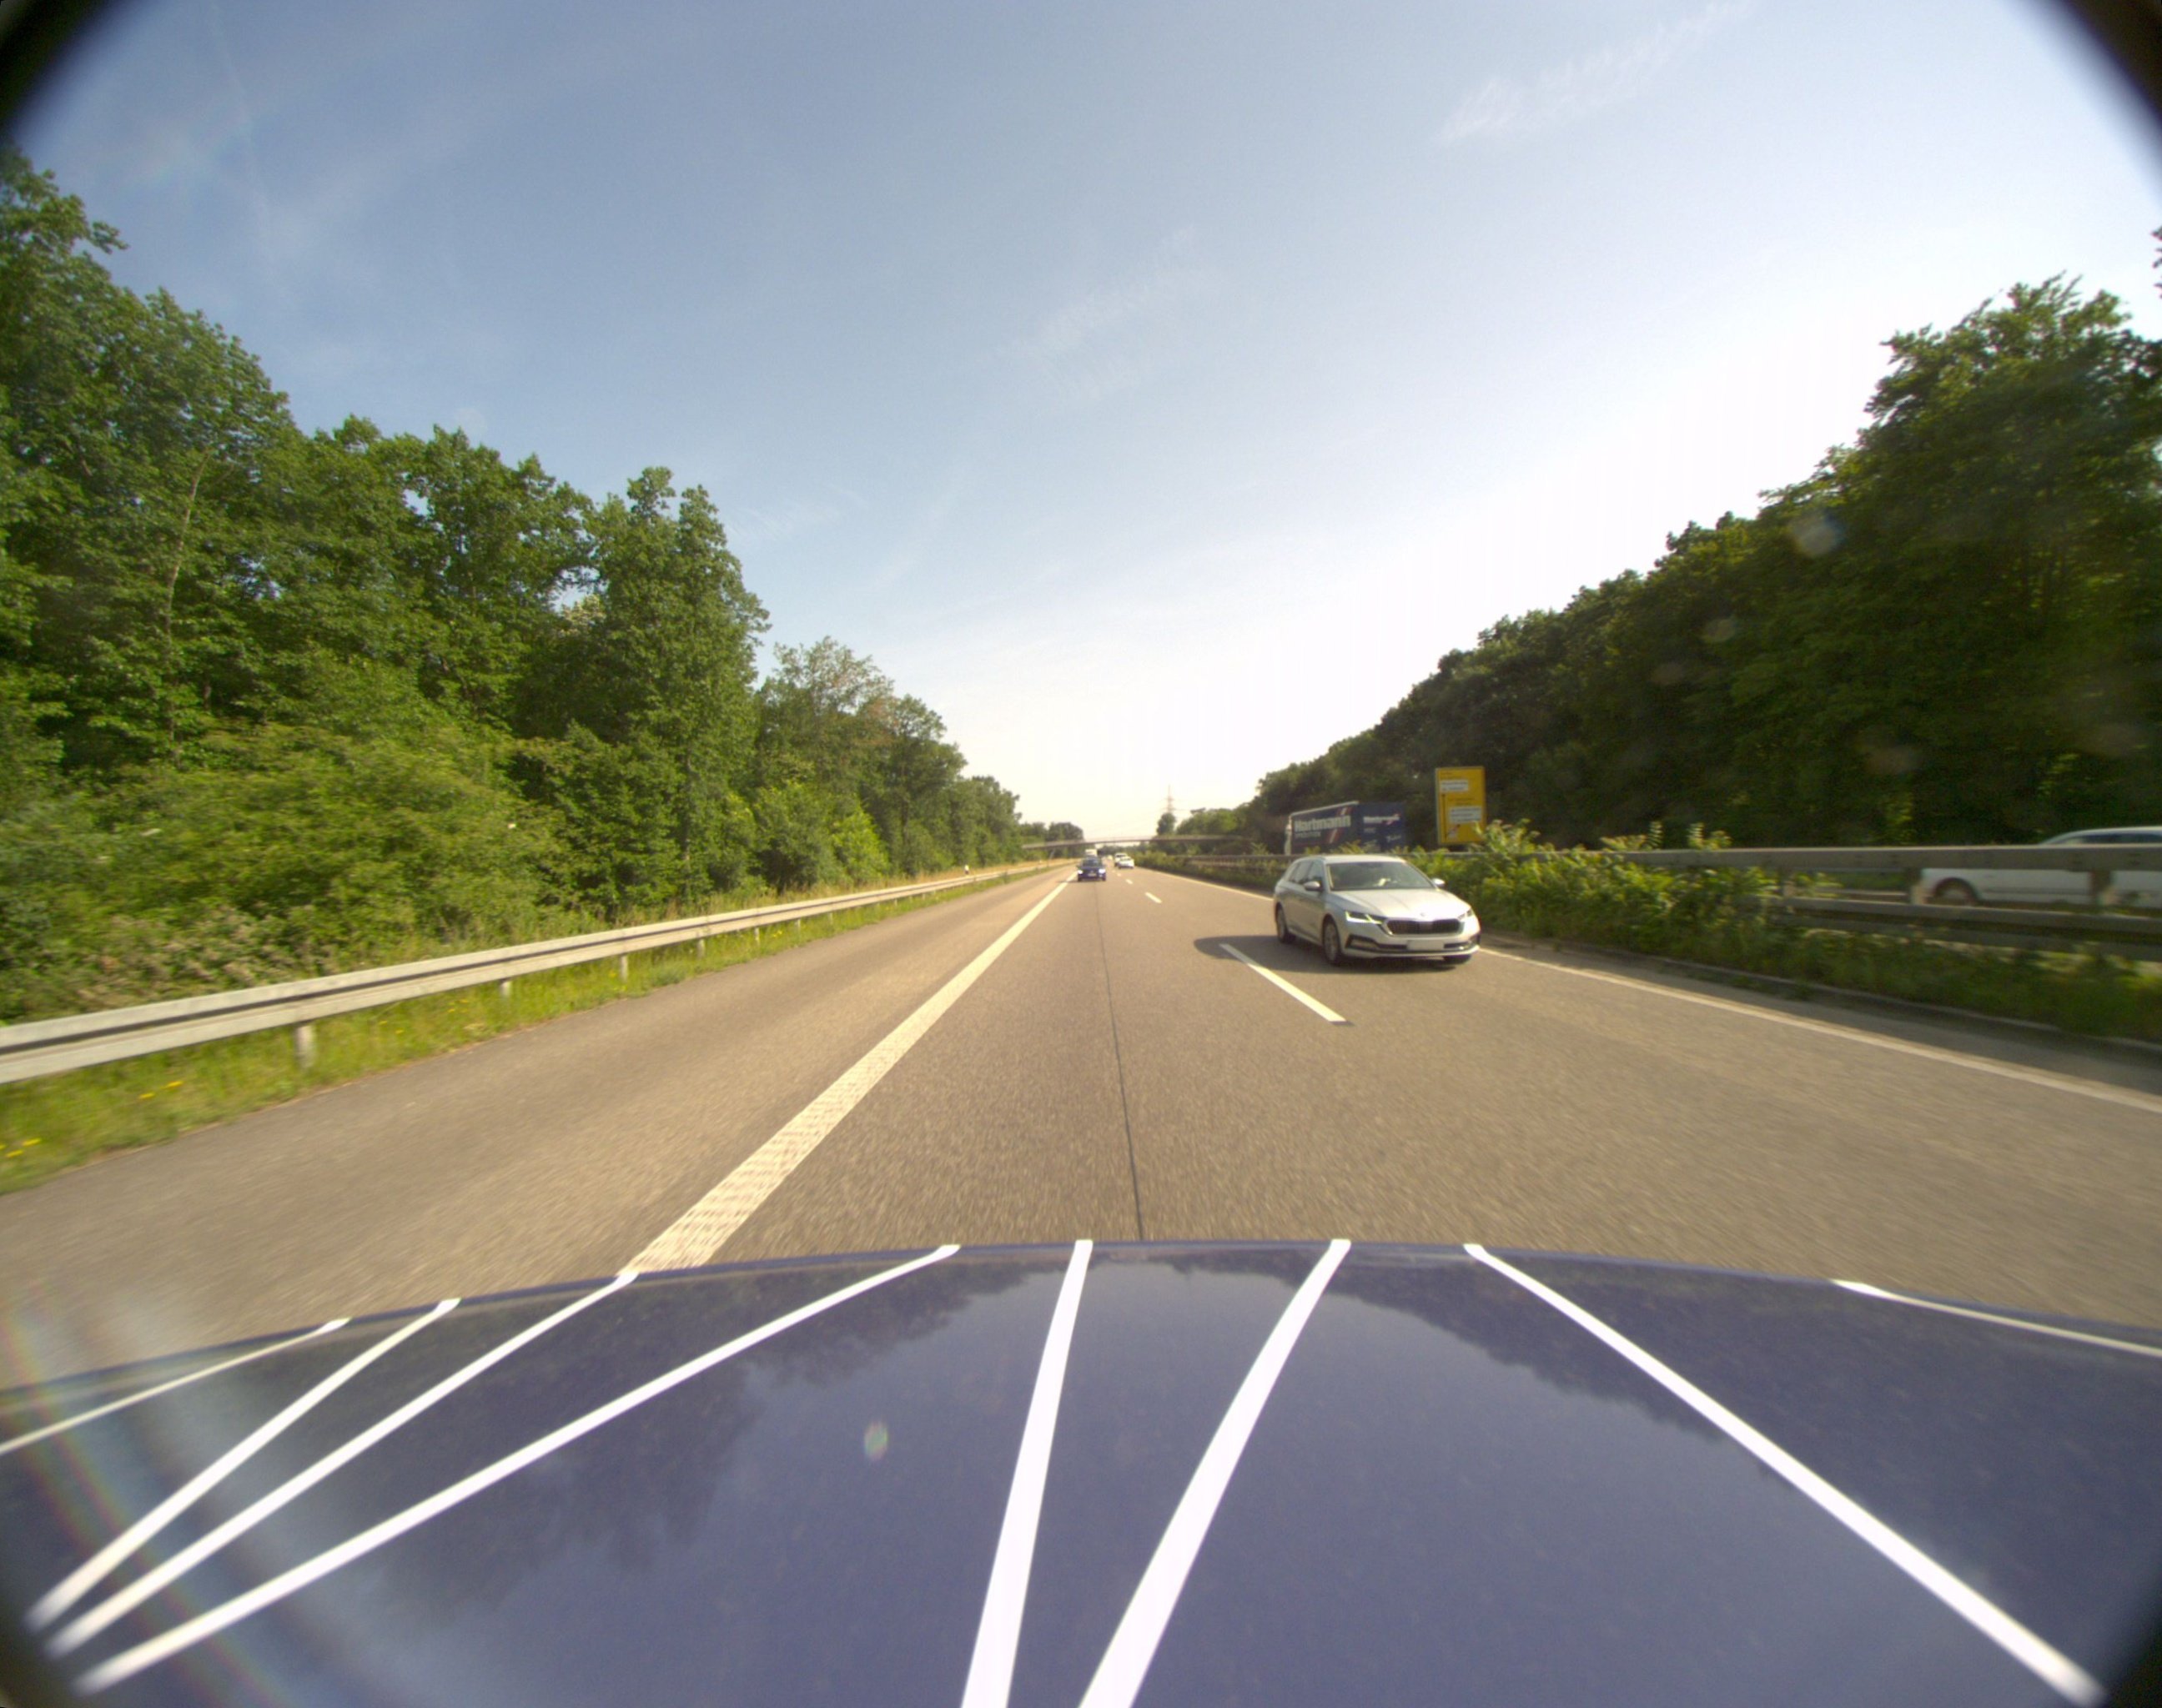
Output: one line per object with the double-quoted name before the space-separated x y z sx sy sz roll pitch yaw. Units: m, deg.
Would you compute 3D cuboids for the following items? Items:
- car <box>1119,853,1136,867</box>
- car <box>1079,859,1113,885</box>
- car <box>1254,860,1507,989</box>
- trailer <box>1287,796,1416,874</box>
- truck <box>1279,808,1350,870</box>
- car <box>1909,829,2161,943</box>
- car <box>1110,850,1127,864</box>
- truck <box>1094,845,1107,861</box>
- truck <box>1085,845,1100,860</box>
"car" 5.557 0.695 92.107 1.754 1.477 5.263 -2 0 1
"car" 0.803 0.998 42.933 1.789 1.285 3.538 -2 0 0
"car" 4.107 0.853 11.537 1.797 1.430 5.278 -1 0 1
"trailer" 16.271 -0.992 47.347 2.973 4.046 14.316 -1 0 0
"truck" 16.277 -0.983 53.495 2.973 4.046 6.564 -1 0 0
"car" 15.423 0.410 10.937 1.755 1.457 4.811 -4 0 1
"car" 5.384 0.447 110.304 1.913 1.934 4.705 -2 0 -3
"truck" 5.180 -0.285 207.719 2.695 4.061 12.362 -2 0 -2
"truck" 2.275 -0.334 156.038 2.695 3.020 10.370 -2 0 -1
